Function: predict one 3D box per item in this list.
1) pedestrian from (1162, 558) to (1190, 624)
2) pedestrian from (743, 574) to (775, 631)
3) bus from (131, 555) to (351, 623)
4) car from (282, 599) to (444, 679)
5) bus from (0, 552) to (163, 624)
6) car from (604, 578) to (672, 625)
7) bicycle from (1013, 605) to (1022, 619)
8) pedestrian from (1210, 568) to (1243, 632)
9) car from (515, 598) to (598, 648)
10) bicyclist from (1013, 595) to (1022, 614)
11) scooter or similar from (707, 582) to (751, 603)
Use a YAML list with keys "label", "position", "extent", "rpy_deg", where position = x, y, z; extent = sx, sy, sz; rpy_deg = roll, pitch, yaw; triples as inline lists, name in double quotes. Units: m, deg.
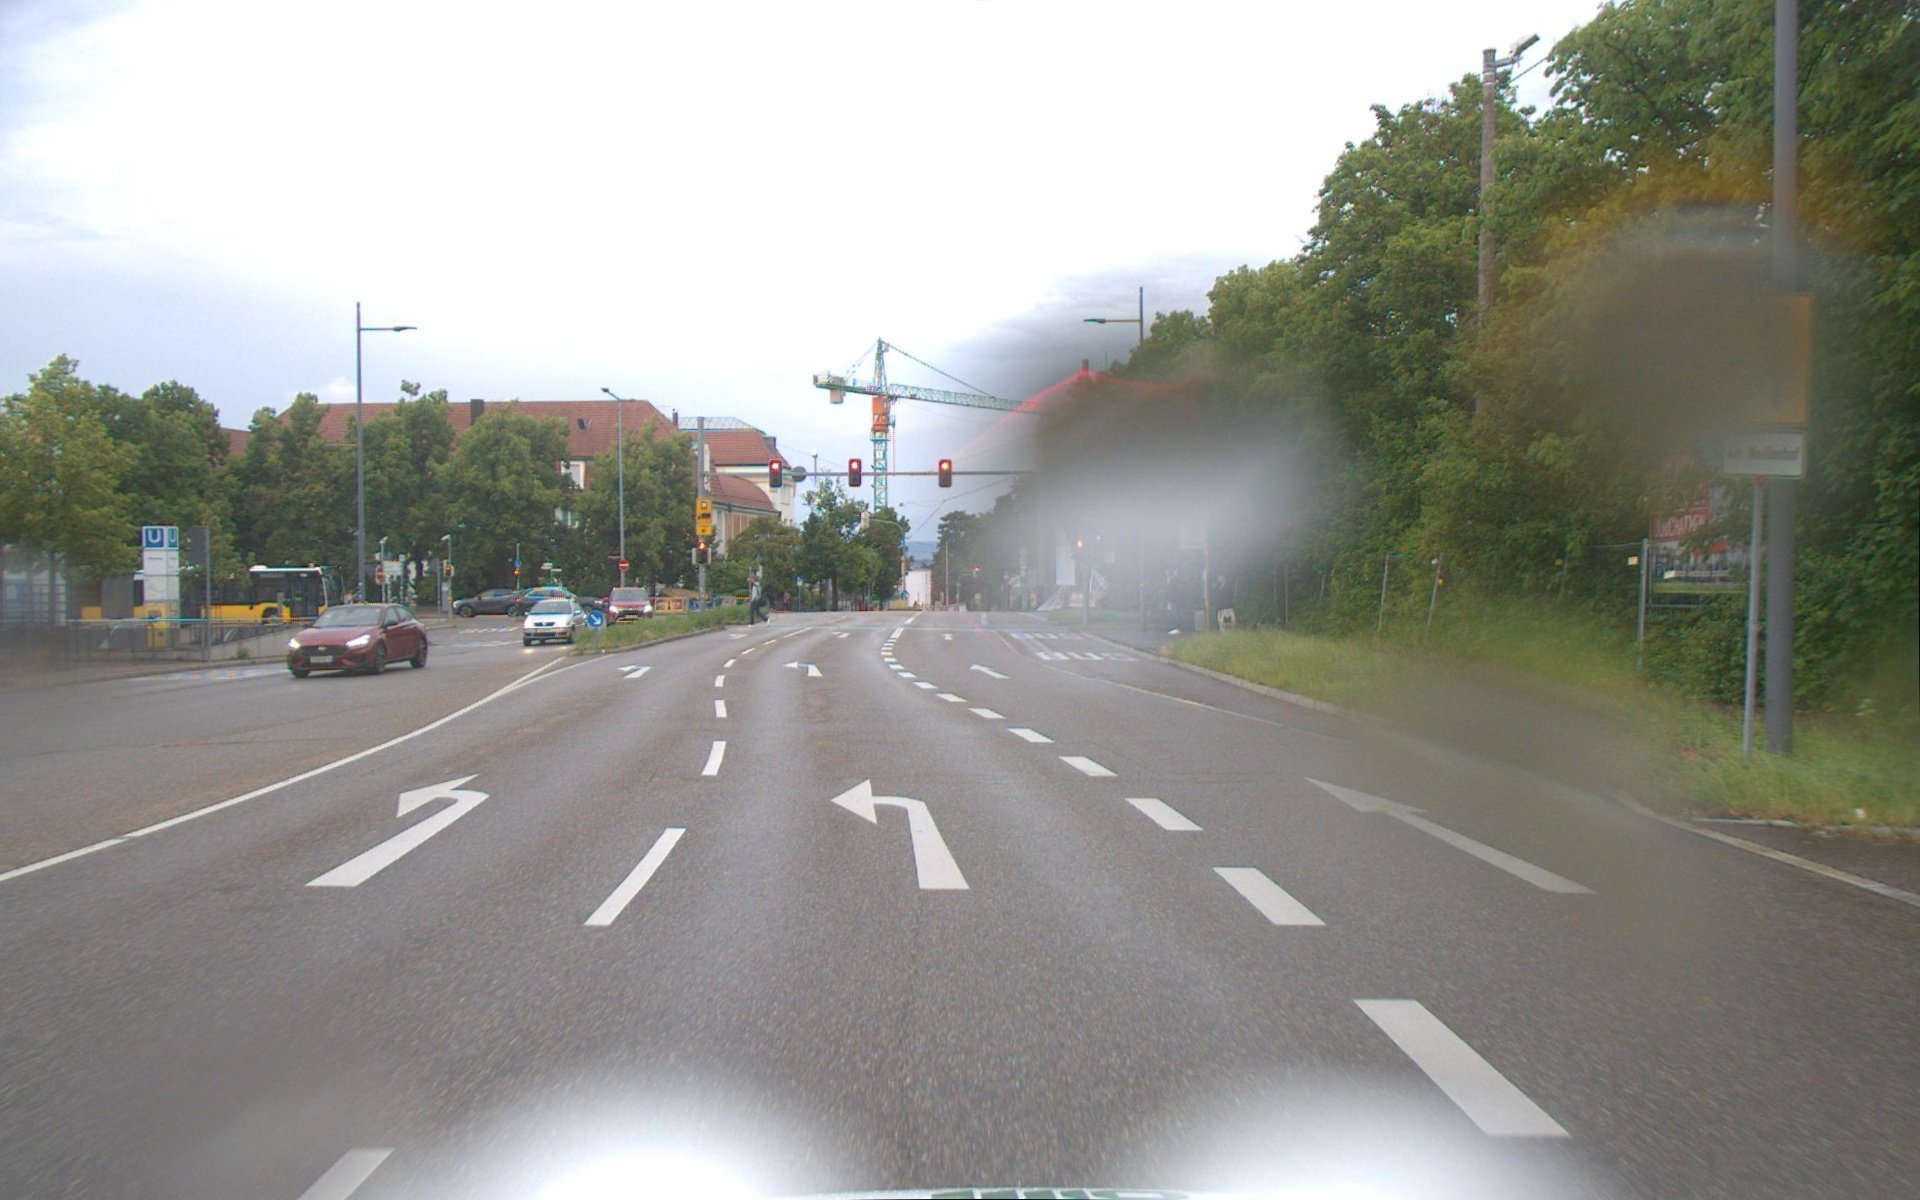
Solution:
- label: "pedestrian"
  position: [6.405, -0.275, 49.097]
  extent: [0.628, 1.934, 0.717]
  rpy_deg: [-1, 0, -6]
- label: "pedestrian"
  position: [-7.454, 0.089, 61.385]
  extent: [0.920, 2.048, 0.847]
  rpy_deg: [-3, 0, 4]
- label: "bus"
  position: [-35.391, -0.556, 81.628]
  extent: [9.524, 3.157, 2.898]
  rpy_deg: [-1, 0, 1]
- label: "car"
  position: [-12.553, 0.772, 35.085]
  extent: [1.795, 1.441, 4.465]
  rpy_deg: [-3, 1, -1]
- label: "bus"
  position: [-44.333, -0.586, 81.784]
  extent: [8.371, 3.365, 2.898]
  rpy_deg: [-1, 0, 1]
- label: "car"
  position: [-12.846, 0.042, 66.236]
  extent: [1.816, 1.712, 4.737]
  rpy_deg: [-3, 1, -1]
- label: "bicycle"
  position: [4.875, 1.026, 141.234]
  extent: [0.705, 1.214, 1.756]
  rpy_deg: [1, -1, 1]
- label: "pedestrian"
  position: [7.170, -0.006, 44.455]
  extent: [0.662, 1.687, 0.792]
  rpy_deg: [-1, 0, -6]
- label: "car"
  position: [-12.970, 0.718, 53.392]
  extent: [1.727, 1.441, 3.878]
  rpy_deg: [-3, 1, -1]
- label: "bicyclist"
  position: [4.887, 0.394, 141.219]
  extent: [0.705, 1.591, 1.143]
  rpy_deg: [1, -1, 1]
- label: "scooter or similar"
  position: [-16.930, -0.527, 121.221]
  extent: [3.026, 1.465, 0.948]
  rpy_deg: [-1, 0, -3]
